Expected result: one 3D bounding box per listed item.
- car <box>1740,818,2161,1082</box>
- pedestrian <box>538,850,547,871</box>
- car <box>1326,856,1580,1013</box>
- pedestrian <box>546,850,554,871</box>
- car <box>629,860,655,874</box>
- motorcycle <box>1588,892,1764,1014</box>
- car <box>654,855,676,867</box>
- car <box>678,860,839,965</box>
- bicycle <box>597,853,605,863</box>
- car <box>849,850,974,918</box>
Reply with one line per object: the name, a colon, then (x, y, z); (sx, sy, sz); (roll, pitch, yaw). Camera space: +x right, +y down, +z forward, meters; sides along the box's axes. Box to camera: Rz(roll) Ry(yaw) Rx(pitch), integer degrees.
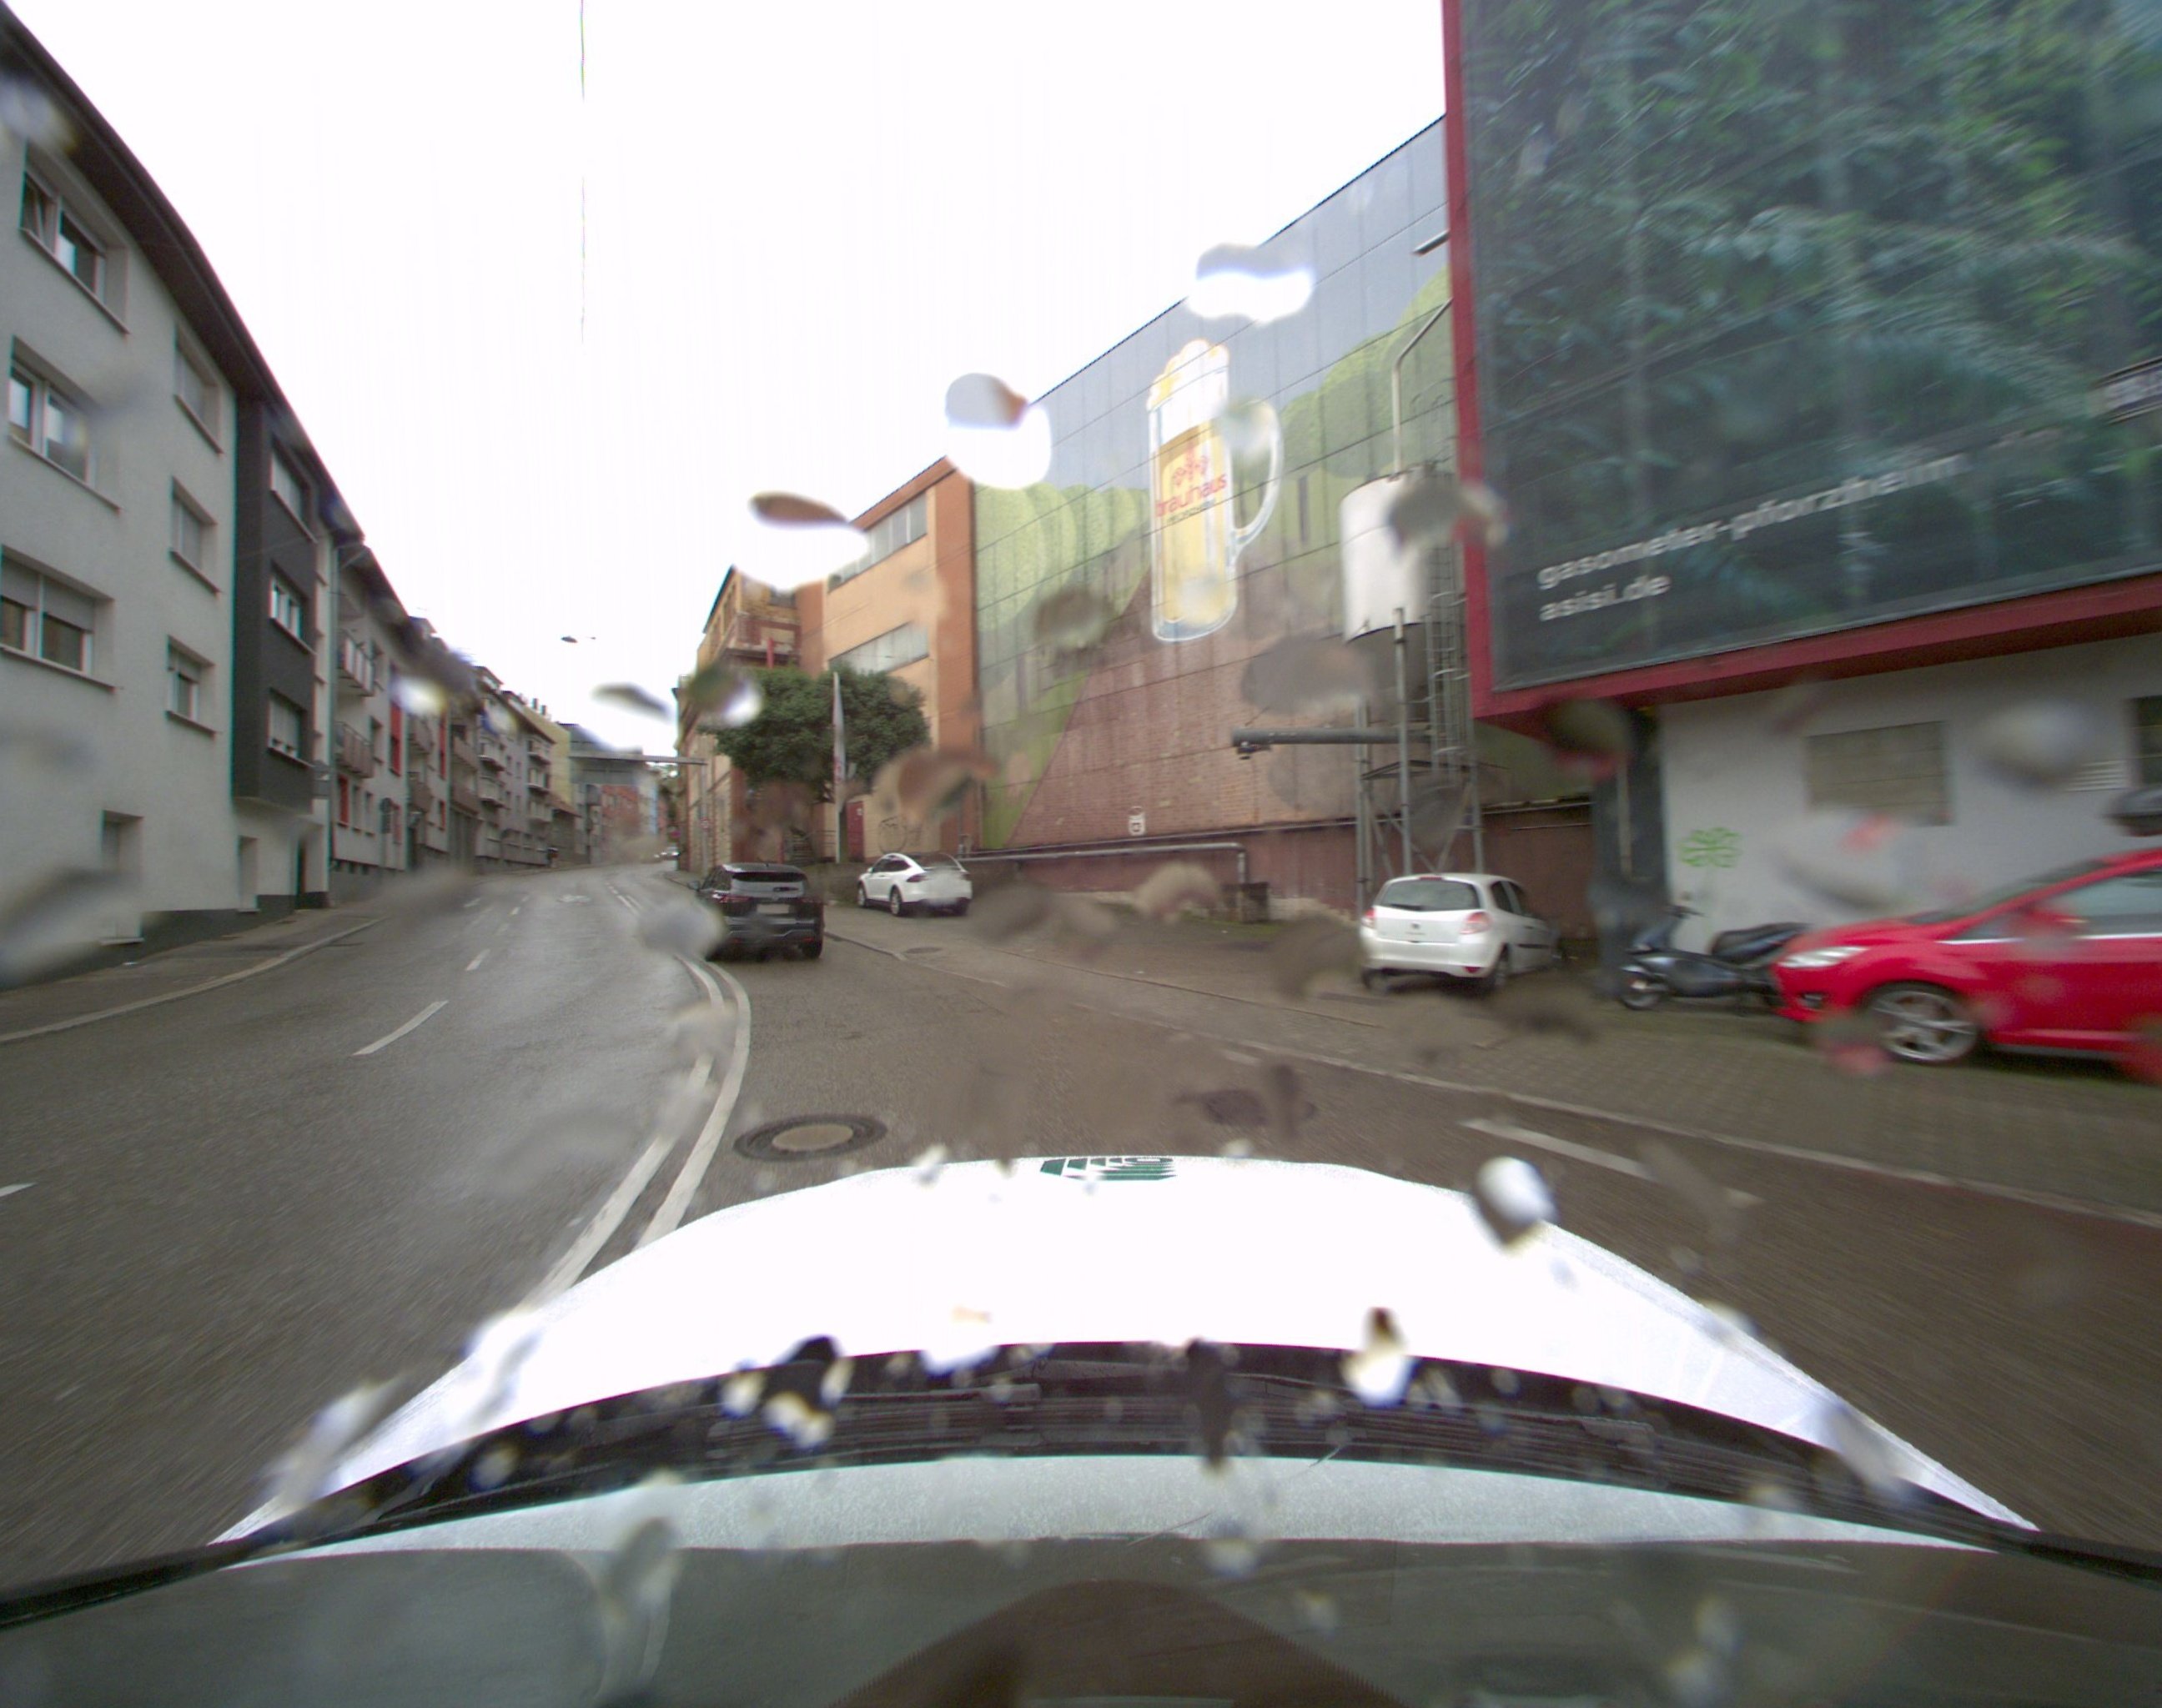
car: (7.782, 0.606, 5.863); (1.943, 1.711, 4.437); (-1, -1, -42)
pedestrian: (-47.292, 0.586, 71.530); (0.526, 1.776, 0.617); (-1, 1, -26)
car: (5.178, 0.919, 11.058); (1.852, 1.533, 4.017); (-3, 1, 44)
pedestrian: (-46.795, 0.578, 71.775); (0.526, 1.776, 0.617); (-1, 1, -26)
car: (-49.828, 1.446, 92.469); (1.798, 1.510, 3.977); (-1, -1, -17)
motorcycle: (6.148, 0.993, 8.484); (1.405, 1.161, 0.455); (-3, -3, 35)
car: (-53.238, 0.921, 104.358); (1.798, 1.510, 3.977); (-1, -1, -17)
car: (-5.862, 0.921, 14.521); (1.894, 1.594, 3.880); (1, -1, -34)
bicycle: (-55.779, 0.412, 94.616); (0.500, 1.107, 1.789); (-1, 2, -19)
car: (-4.916, 0.740, 23.033); (1.866, 1.617, 4.865); (0, 1, -33)
